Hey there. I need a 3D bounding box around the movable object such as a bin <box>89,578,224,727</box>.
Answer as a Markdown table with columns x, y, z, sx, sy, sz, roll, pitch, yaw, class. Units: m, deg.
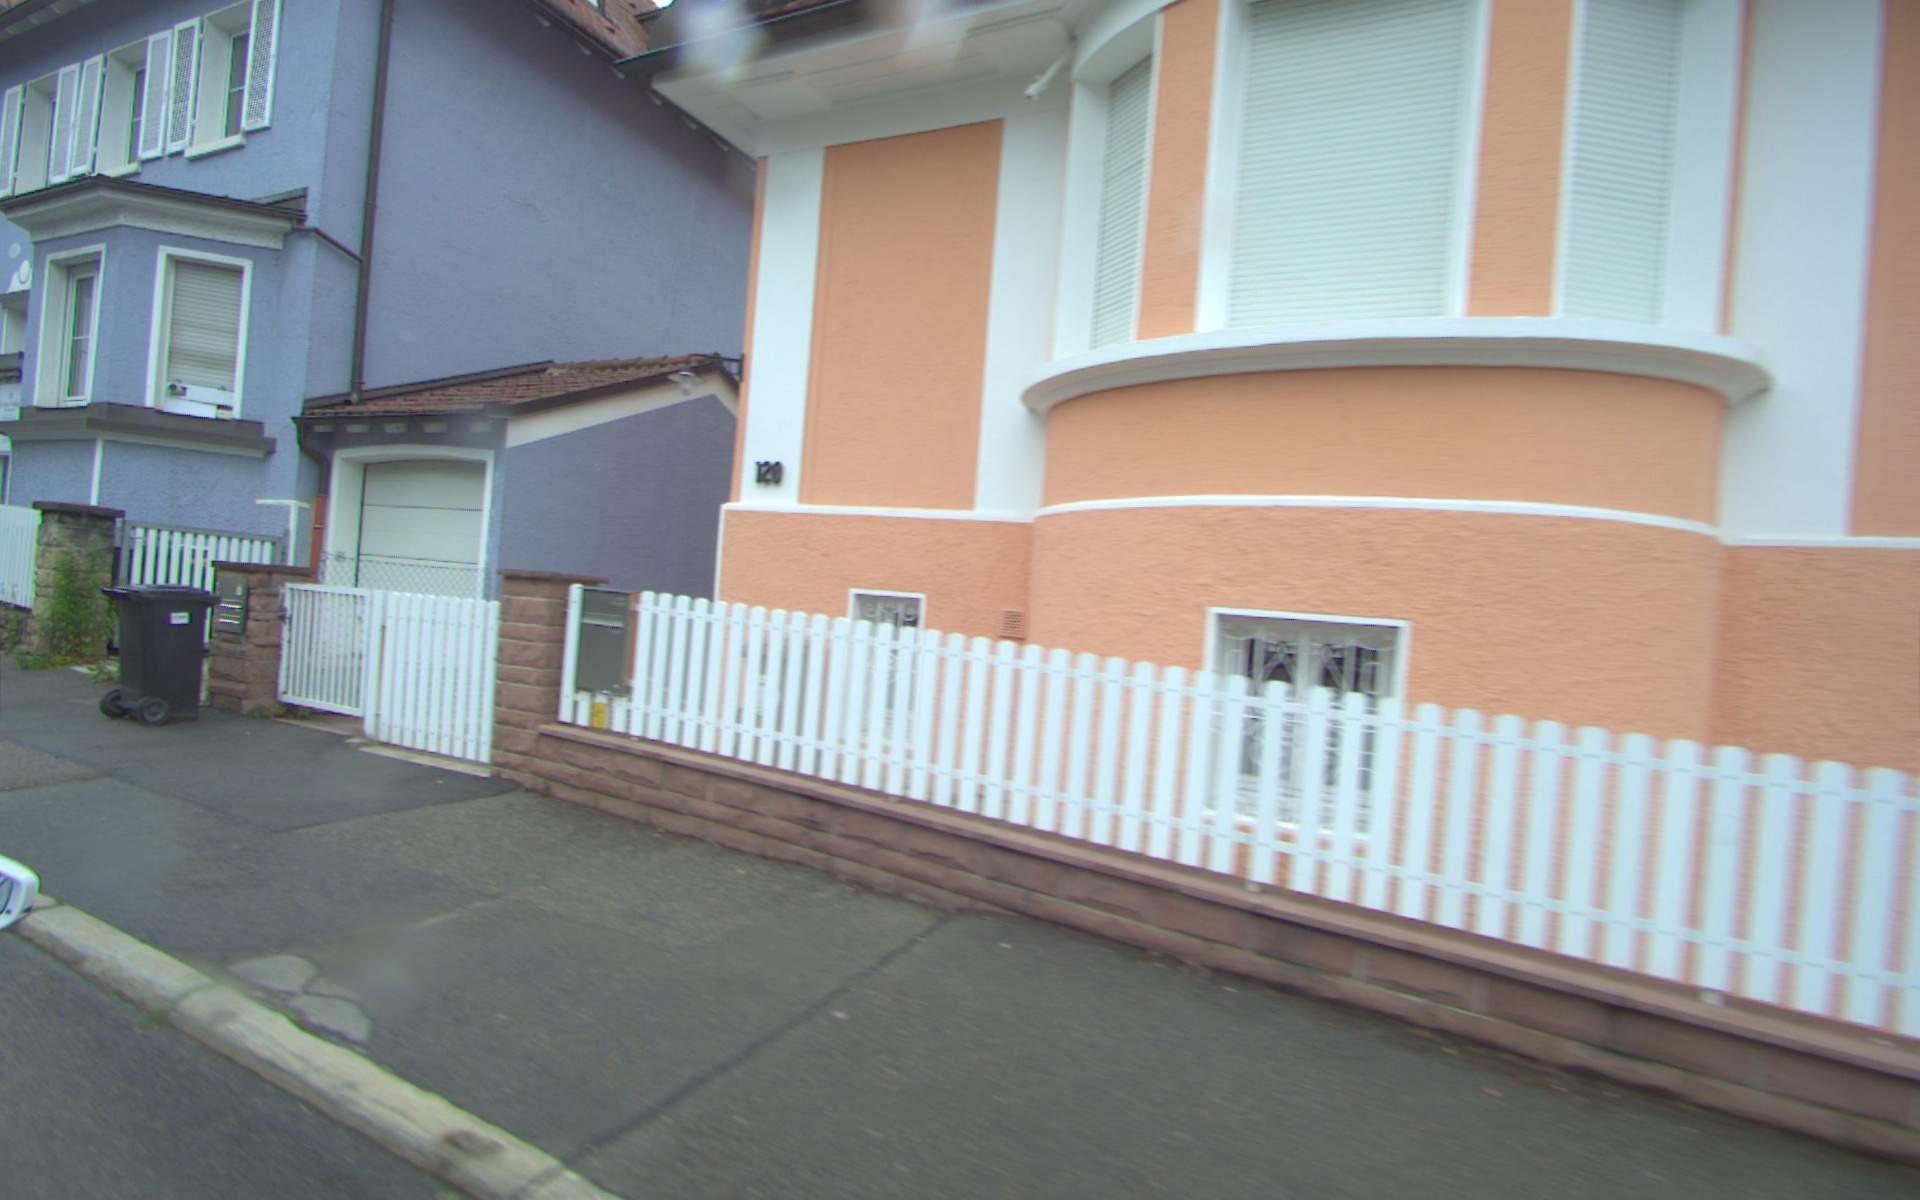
| x | y | z | sx | sy | sz | roll | pitch | yaw | class |
| --- | --- | --- | --- | --- | --- | --- | --- | --- | --- |
| -5.502 | 0.347 | 6.899 | 0.479 | 0.931 | 0.532 | 6 | 2 | 25 | movable object such as a bin |
